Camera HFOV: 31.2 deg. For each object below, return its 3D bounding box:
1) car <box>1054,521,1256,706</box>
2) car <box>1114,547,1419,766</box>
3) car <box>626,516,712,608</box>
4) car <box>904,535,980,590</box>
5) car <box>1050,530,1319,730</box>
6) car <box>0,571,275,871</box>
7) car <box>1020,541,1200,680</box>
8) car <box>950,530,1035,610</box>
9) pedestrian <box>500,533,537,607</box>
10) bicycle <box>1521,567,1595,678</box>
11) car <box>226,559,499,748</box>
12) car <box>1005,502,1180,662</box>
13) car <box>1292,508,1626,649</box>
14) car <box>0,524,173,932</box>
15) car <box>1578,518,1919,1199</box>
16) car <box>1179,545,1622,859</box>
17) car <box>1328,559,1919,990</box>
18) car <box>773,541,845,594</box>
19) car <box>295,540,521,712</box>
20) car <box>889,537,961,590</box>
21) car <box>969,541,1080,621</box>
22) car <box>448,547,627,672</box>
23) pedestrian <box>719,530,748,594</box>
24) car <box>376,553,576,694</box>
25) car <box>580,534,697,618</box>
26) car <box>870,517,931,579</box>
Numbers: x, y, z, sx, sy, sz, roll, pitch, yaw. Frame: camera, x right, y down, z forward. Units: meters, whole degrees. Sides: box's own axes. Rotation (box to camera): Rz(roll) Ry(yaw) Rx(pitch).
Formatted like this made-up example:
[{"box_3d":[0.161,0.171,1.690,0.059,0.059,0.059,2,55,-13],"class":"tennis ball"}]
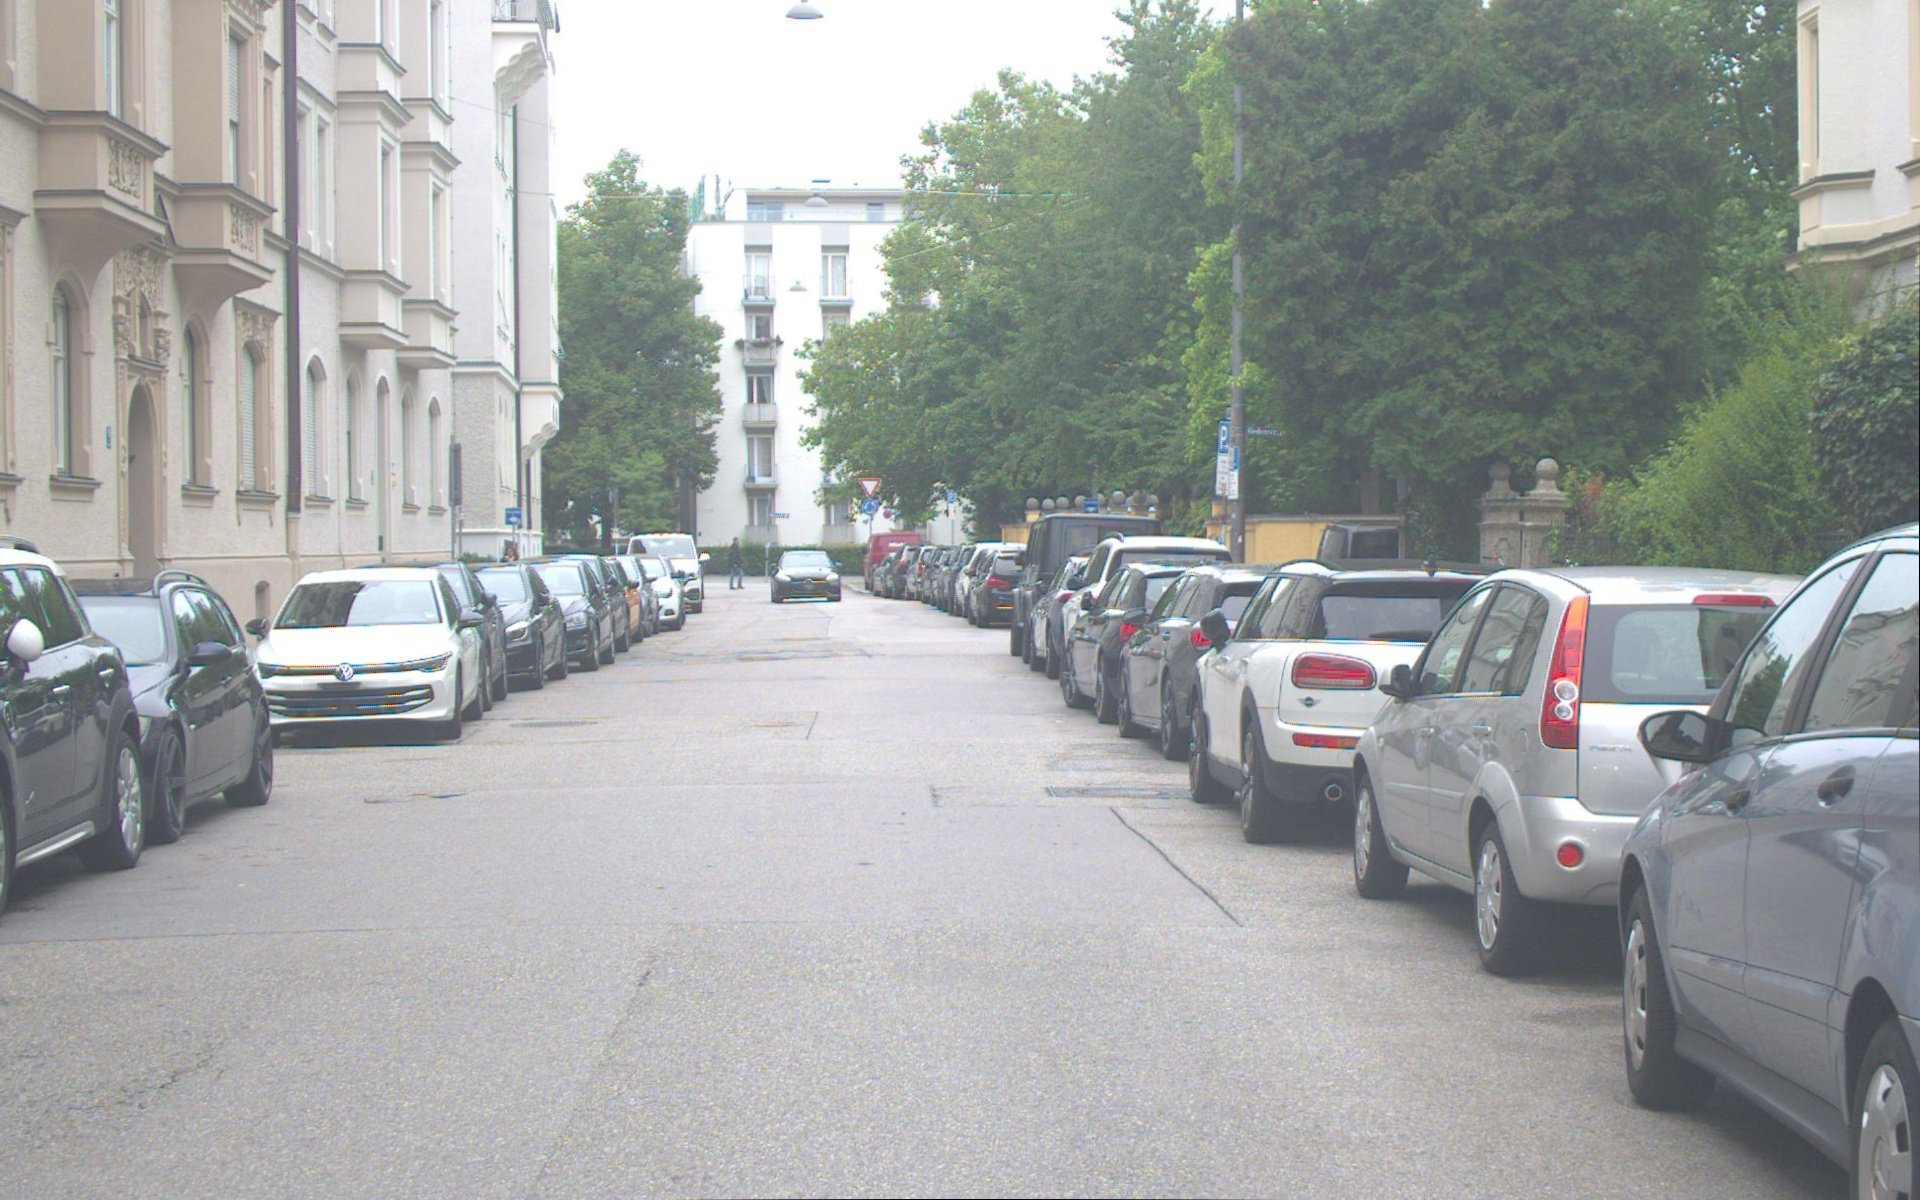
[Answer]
[{"box_3d":[1.980,0.110,36.048,1.723,1.763,4.413,2,1,-1],"class":"car"},{"box_3d":[2.240,0.367,26.133,1.683,1.499,4.019,1,1,-4],"class":"car"},{"box_3d":[-7.115,-0.966,84.541,1.886,2.120,4.707,-3,2,-3],"class":"car"},{"box_3d":[-0.539,-1.077,98.259,1.838,1.513,3.948,1,1,-5],"class":"car"},{"box_3d":[1.943,0.209,31.081,1.750,1.605,4.425,1,2,-5],"class":"car"},{"box_3d":[-5.099,0.587,19.249,1.787,1.407,4.368,0,1,-2],"class":"car"},{"box_3d":[1.736,0.098,40.871,1.722,1.513,3.631,2,1,-3],"class":"car"},{"box_3d":[0.677,-0.643,73.753,1.513,1.656,3.675,1,1,-4],"class":"car"},{"box_3d":[-10.011,-0.678,77.940,0.792,1.673,0.700,-1,1,-9],"class":"pedestrian"},{"box_3d":[6.103,0.219,35.113,0.454,1.095,1.314,0,1,-3],"class":"bicycle"},{"box_3d":[-5.190,0.416,30.380,1.836,1.429,4.245,-2,2,-3],"class":"car"},{"box_3d":[1.708,-0.290,45.888,1.950,1.947,4.666,1,2,-2],"class":"car"},{"box_3d":[7.359,-0.346,50.887,4.528,1.943,1.904,-1,3,-8],"class":"car"},{"box_3d":[-4.798,0.484,15.086,1.836,1.613,4.245,0,1,-2],"class":"car"},{"box_3d":[2.682,0.630,7.985,1.822,1.564,4.400,2,2,3],"class":"car"},{"box_3d":[2.272,0.466,18.761,1.784,1.499,4.065,1,1,-1],"class":"car"},{"box_3d":[2.530,0.567,13.229,1.754,1.401,3.452,1,1,-1],"class":"car"},{"box_3d":[-4.220,-0.933,95.677,1.874,1.423,4.410,-1,1,-4],"class":"car"},{"box_3d":[-5.546,0.206,35.017,1.770,1.513,4.386,-3,2,-3],"class":"car"},{"box_3d":[-1.060,-1.099,102.428,1.838,1.513,3.948,1,1,-5],"class":"car"},{"box_3d":[1.158,-0.366,63.659,1.838,1.408,4.343,1,1,-2],"class":"car"},{"box_3d":[-5.517,0.091,45.328,1.836,1.431,4.245,-3,2,-1],"class":"car"},{"box_3d":[-8.089,-1.351,122.729,0.841,2.277,0.843,-1,1,-18],"class":"pedestrian"},{"box_3d":[-5.549,0.222,39.871,1.833,1.429,4.554,-2,2,-3],"class":"car"},{"box_3d":[-6.137,-0.487,66.049,1.836,1.433,4.275,-3,2,-1],"class":"car"},{"box_3d":[-1.955,-1.741,114.078,1.836,1.920,4.005,2,1,1],"class":"car"}]
